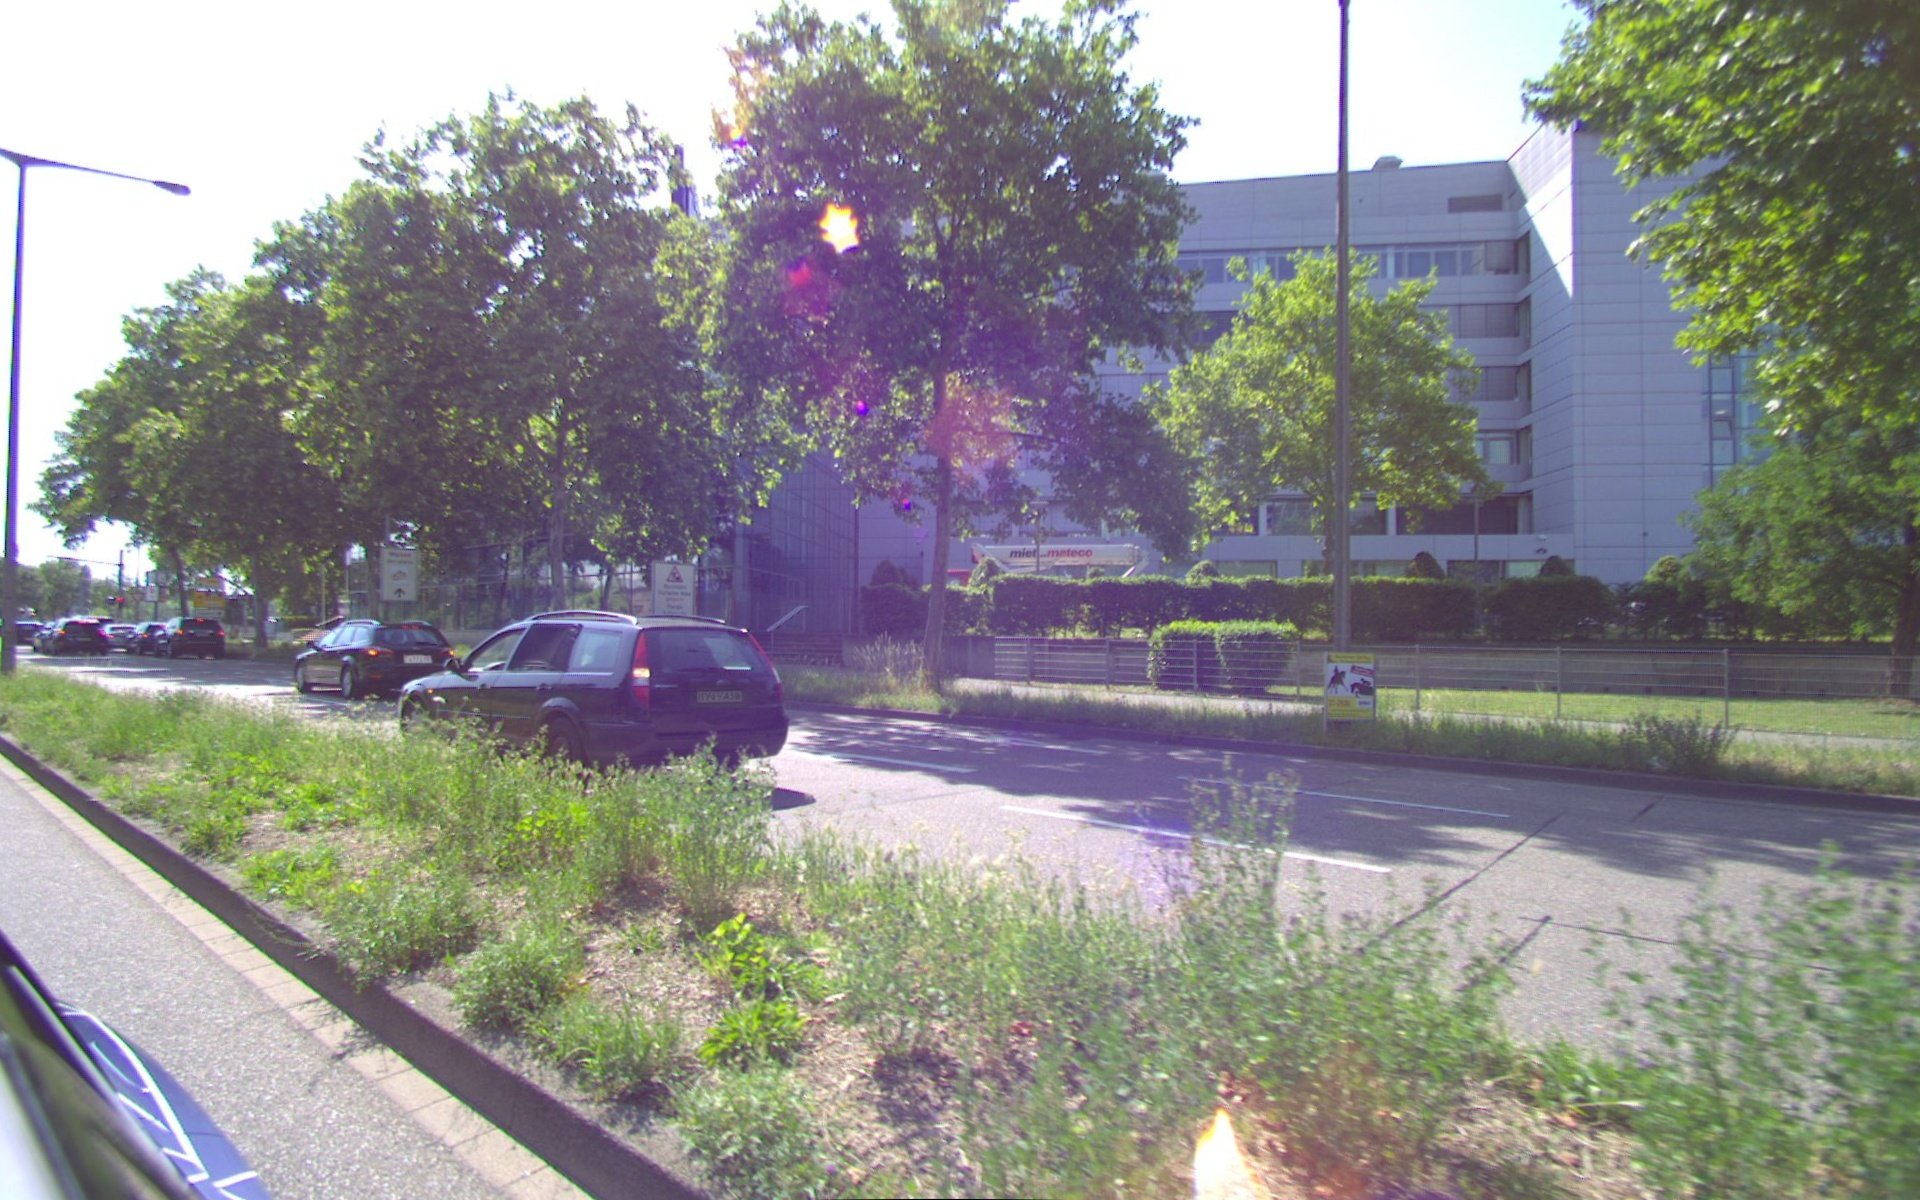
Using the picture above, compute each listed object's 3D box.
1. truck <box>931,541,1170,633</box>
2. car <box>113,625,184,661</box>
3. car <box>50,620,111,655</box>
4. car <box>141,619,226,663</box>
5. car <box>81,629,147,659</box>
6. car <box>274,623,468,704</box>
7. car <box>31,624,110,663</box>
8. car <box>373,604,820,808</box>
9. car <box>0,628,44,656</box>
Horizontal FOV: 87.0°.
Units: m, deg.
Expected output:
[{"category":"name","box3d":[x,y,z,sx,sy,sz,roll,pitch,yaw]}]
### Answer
[{"category":"truck","box3d":[3.411,-0.445,39.071,8.875,3.421,2.669,0,-2,5]},{"category":"car","box3d":[-39.116,2.064,48.751,4.444,1.603,1.867,-2,-4,42]},{"category":"car","box3d":[-51.209,2.179,58.874,5.225,1.934,1.918,-1,-2,41]},{"category":"car","box3d":[-33.939,1.796,44.197,4.648,1.849,1.973,-2,-4,41]},{"category":"car","box3d":[-44.385,2.302,53.039,5.002,1.460,1.871,-2,-4,42]},{"category":"car","box3d":[-12.152,1.229,20.741,4.983,1.479,1.809,-1,-3,40]},{"category":"car","box3d":[-39.223,1.918,44.610,4.493,1.623,1.973,-2,-4,41]},{"category":"car","box3d":[-3.581,0.840,9.522,4.665,1.479,1.755,-1,-3,39]},{"category":"car","box3d":[-52.397,2.328,56.219,3.955,1.487,1.743,-2,-3,41]}]
